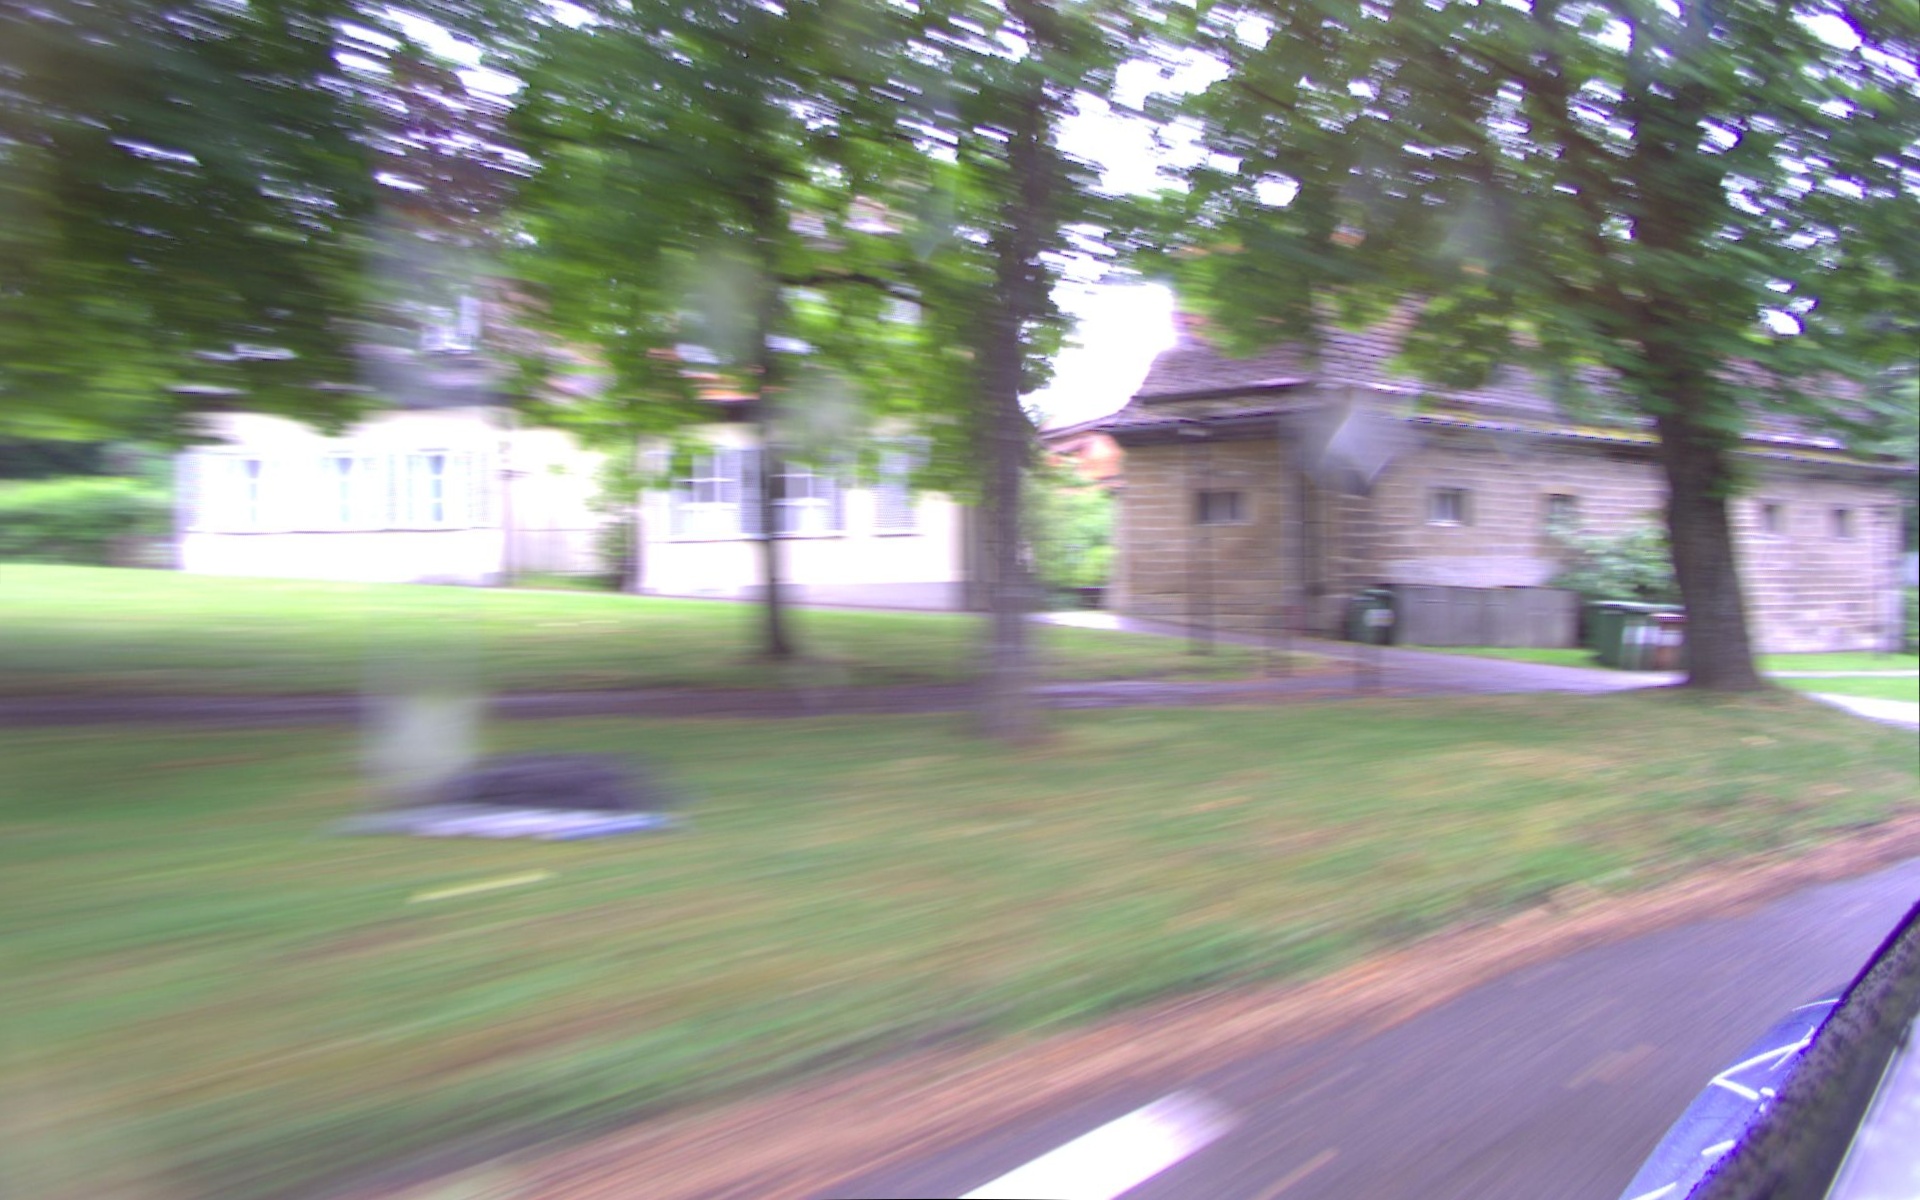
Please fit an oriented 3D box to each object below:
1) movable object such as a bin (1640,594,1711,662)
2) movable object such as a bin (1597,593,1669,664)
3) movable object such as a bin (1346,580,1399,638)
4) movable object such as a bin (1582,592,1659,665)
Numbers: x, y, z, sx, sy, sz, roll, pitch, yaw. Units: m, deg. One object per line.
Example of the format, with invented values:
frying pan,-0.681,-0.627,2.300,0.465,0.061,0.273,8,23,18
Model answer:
movable object such as a bin,12.028,0.462,17.032,0.564,1.051,0.700,1,6,-25
movable object such as a bin,10.931,0.449,16.447,0.564,1.051,0.700,1,6,-25
movable object such as a bin,7.000,0.149,17.191,0.523,0.917,0.554,1,6,-26
movable object such as a bin,10.430,0.444,16.000,0.646,1.051,0.700,1,6,-26
